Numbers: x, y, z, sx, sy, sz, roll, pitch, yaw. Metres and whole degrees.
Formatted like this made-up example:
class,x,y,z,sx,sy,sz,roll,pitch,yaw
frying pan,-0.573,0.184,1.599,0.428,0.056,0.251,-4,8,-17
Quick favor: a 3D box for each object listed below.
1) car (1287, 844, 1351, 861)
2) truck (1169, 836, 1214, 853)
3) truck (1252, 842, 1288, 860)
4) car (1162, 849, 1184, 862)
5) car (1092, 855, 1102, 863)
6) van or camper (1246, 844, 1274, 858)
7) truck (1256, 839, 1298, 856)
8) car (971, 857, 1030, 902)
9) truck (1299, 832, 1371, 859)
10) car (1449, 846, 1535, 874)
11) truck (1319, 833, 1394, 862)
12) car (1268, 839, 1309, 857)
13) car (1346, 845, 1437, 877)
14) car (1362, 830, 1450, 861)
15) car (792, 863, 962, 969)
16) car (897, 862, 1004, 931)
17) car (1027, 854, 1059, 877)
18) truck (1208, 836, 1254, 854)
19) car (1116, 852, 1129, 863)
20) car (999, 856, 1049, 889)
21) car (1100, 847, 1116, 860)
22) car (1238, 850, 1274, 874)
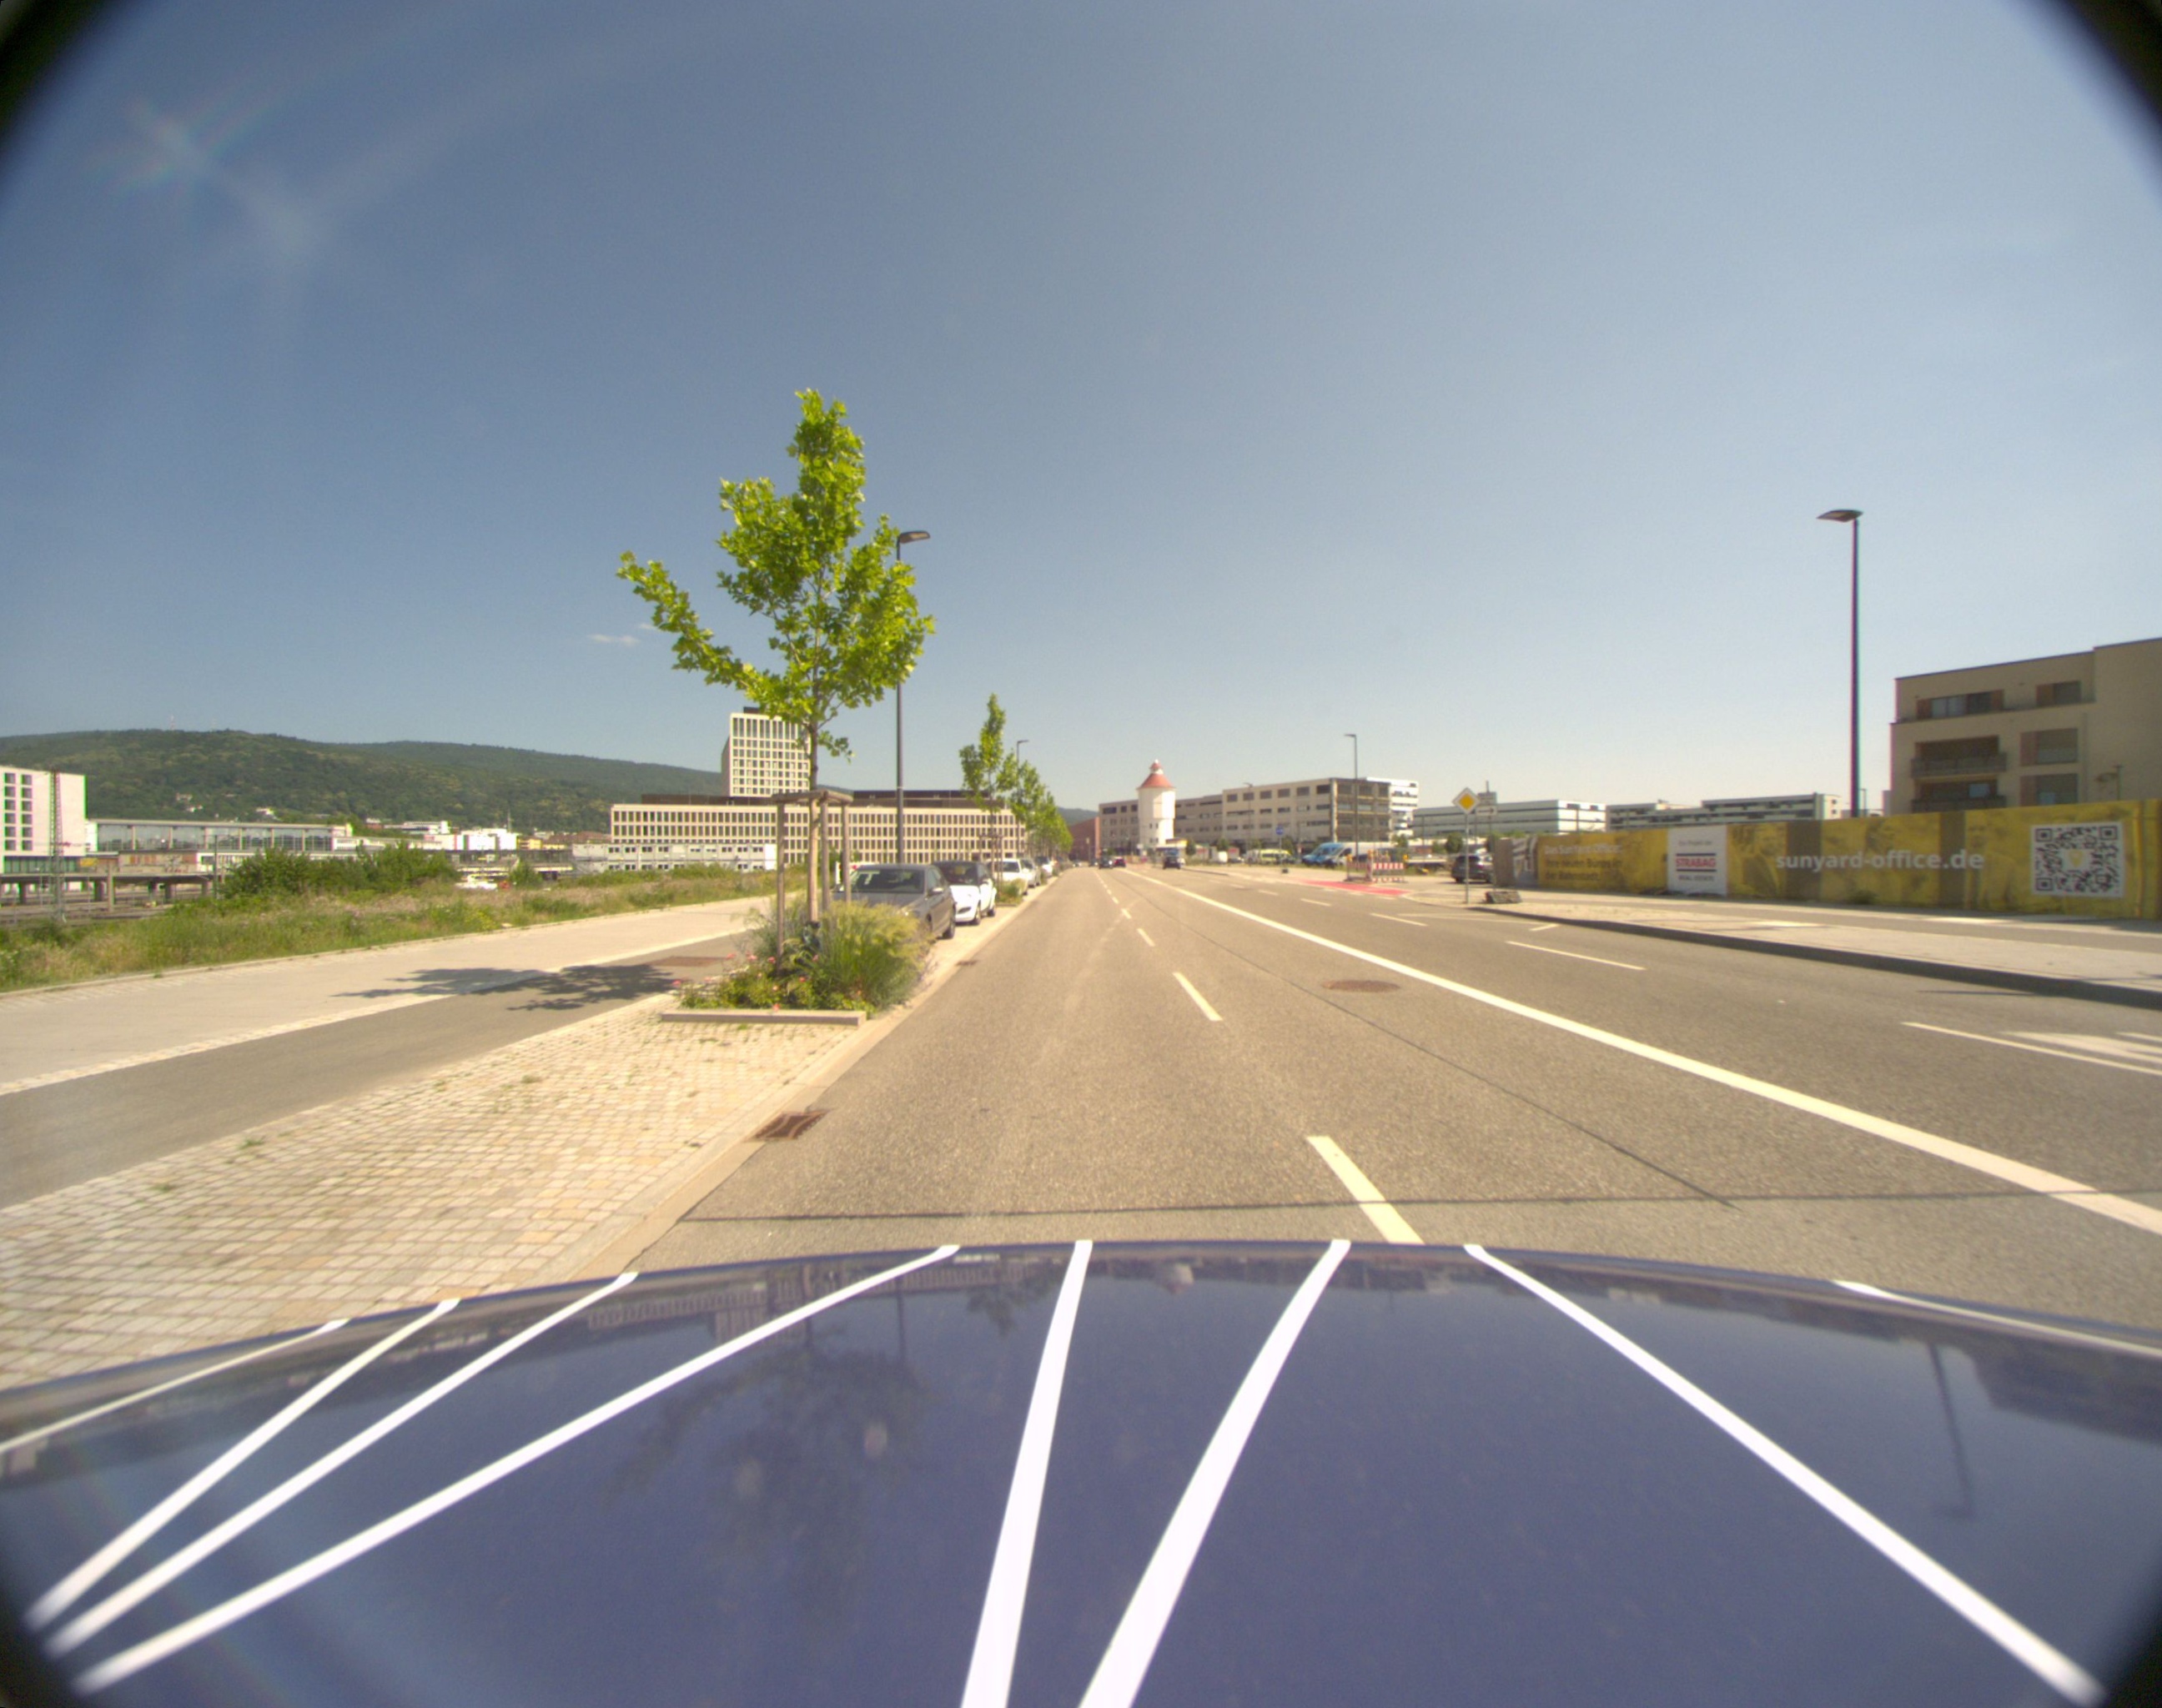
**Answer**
class,x,y,z,sx,sy,sz,roll,pitch,yaw
car,23.535,-0.141,75.362,5.666,1.465,2.107,-1,0,-2
truck,28.324,-2.468,194.326,10.988,4.045,3.297,-3,2,-17
truck,34.542,-0.561,138.879,5.850,2.809,2.569,-3,2,-1
car,9.461,0.115,78.382,1.708,1.344,4.455,0,1,0
car,3.113,0.913,146.064,1.783,1.552,3.832,-1,0,2
van or camper,34.783,-0.584,147.894,4.912,2.646,2.260,-2,0,0
truck,34.904,-1.161,135.599,6.654,2.809,2.602,-2,0,-2
car,-2.936,0.890,28.419,1.750,1.500,4.001,-1,0,0
truck,23.870,-0.780,71.655,6.019,2.528,2.275,0,0,0
car,20.064,0.284,37.084,4.255,1.310,1.995,0,0,-35
truck,23.362,-0.546,64.510,5.581,2.349,2.275,0,0,-1
car,22.251,-0.603,81.647,3.994,1.892,1.828,0,0,8
car,23.432,0.539,57.555,5.895,2.153,2.396,-2,0,5
car,23.585,-0.591,55.292,5.458,2.160,2.394,0,0,-3
car,-3.259,0.920,12.972,1.708,1.454,3.954,-1,0,2
car,-3.064,0.952,18.671,1.708,1.454,4.085,-1,0,2
car,-2.694,0.810,54.760,1.913,1.568,4.158,-1,0,3
truck,38.830,-2.414,196.878,10.951,4.251,3.341,-2,2,-11
car,6.518,0.524,119.693,1.917,1.640,4.731,-1,0,2
car,-2.786,0.877,37.838,1.913,1.470,4.158,-1,0,3
car,3.263,-0.076,93.238,1.783,1.552,3.831,0,0,0
car,11.786,0.533,51.279,1.611,1.468,3.678,1,1,2
